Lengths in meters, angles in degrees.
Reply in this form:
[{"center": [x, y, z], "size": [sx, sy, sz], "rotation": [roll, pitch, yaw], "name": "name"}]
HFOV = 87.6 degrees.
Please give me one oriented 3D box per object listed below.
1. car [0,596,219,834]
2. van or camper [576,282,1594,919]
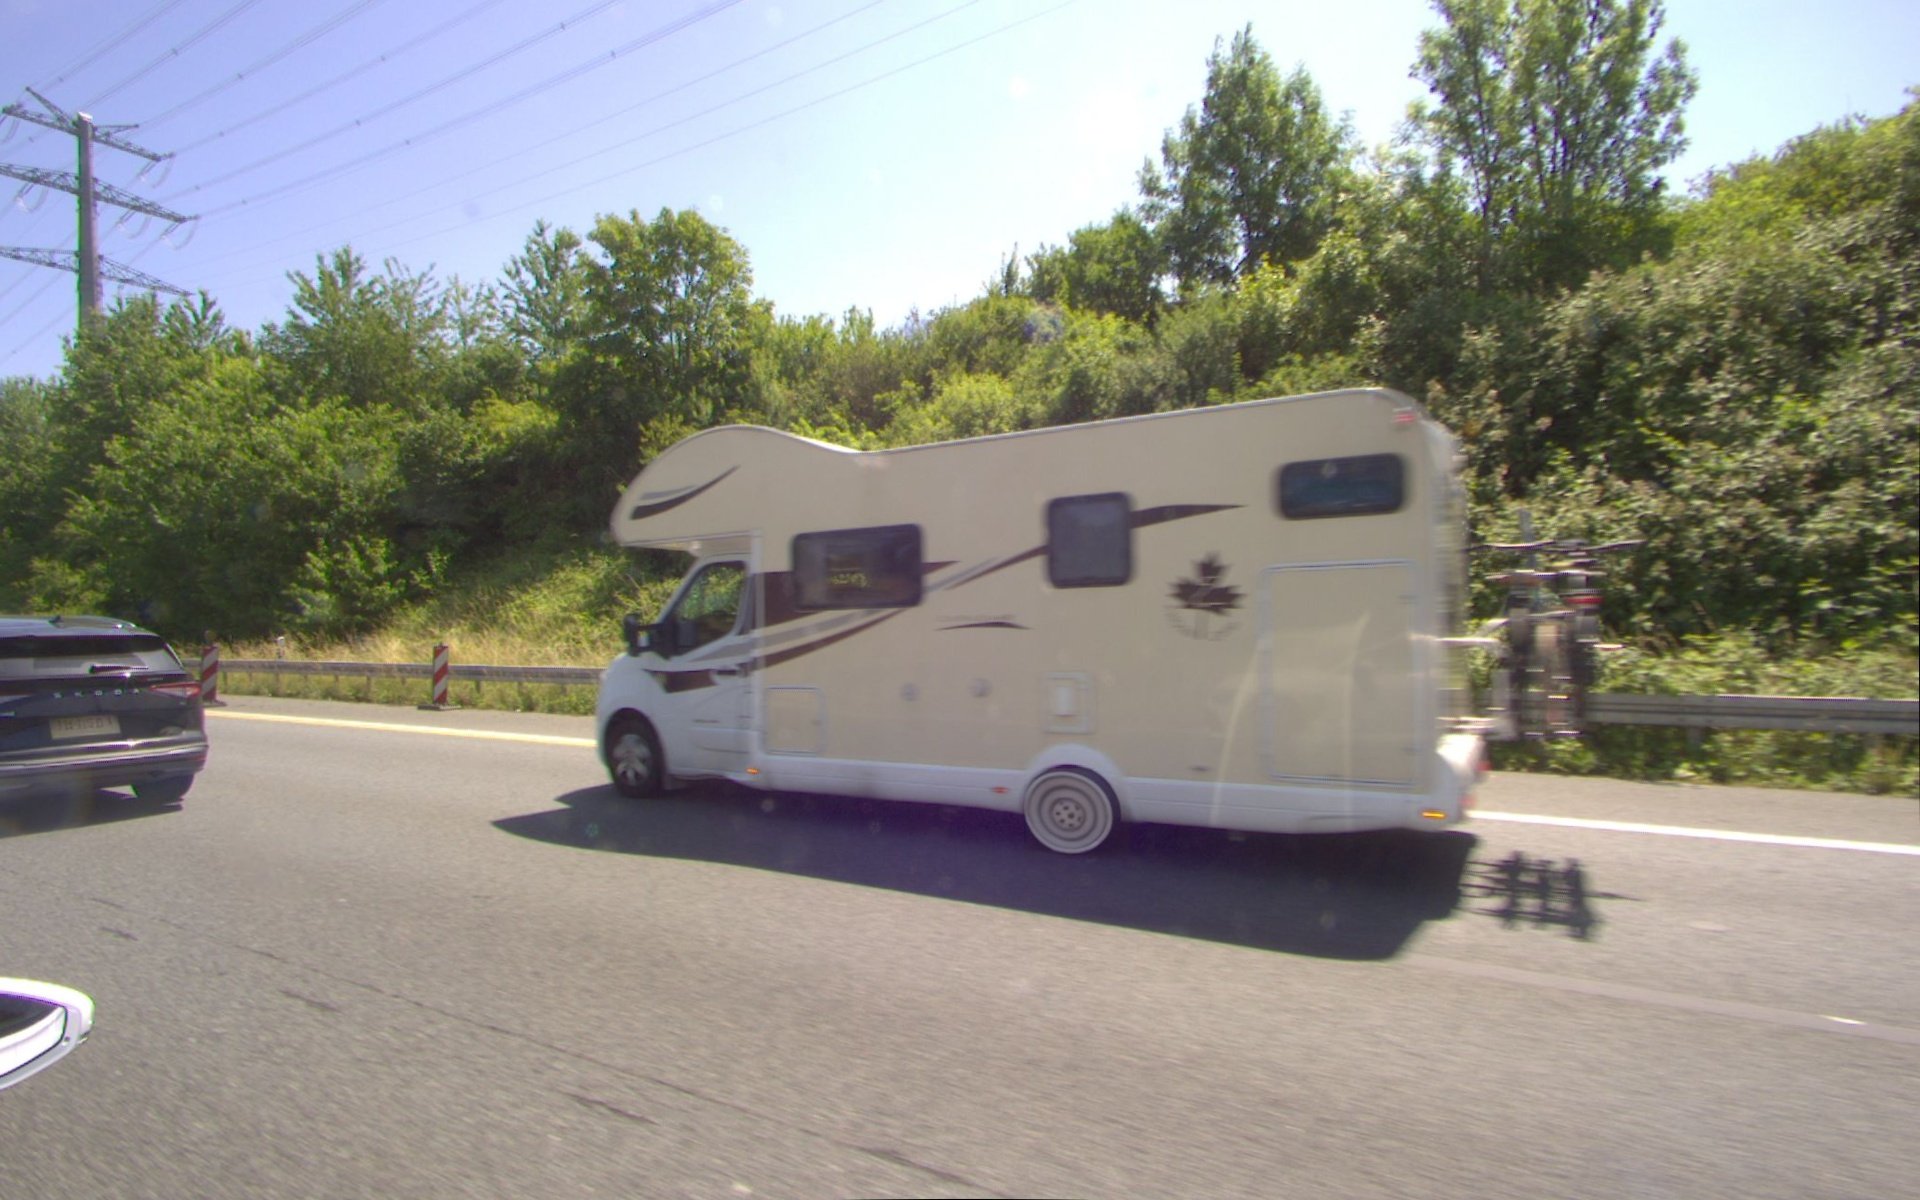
[{"center": [-8.420, 0.874, 8.607], "size": [4.364, 1.676, 1.699], "rotation": [-1, -2, 30], "name": "car"}, {"center": [0.446, 0.117, 7.832], "size": [7.522, 3.082, 2.366], "rotation": [-1, -2, 31], "name": "van or camper"}]
